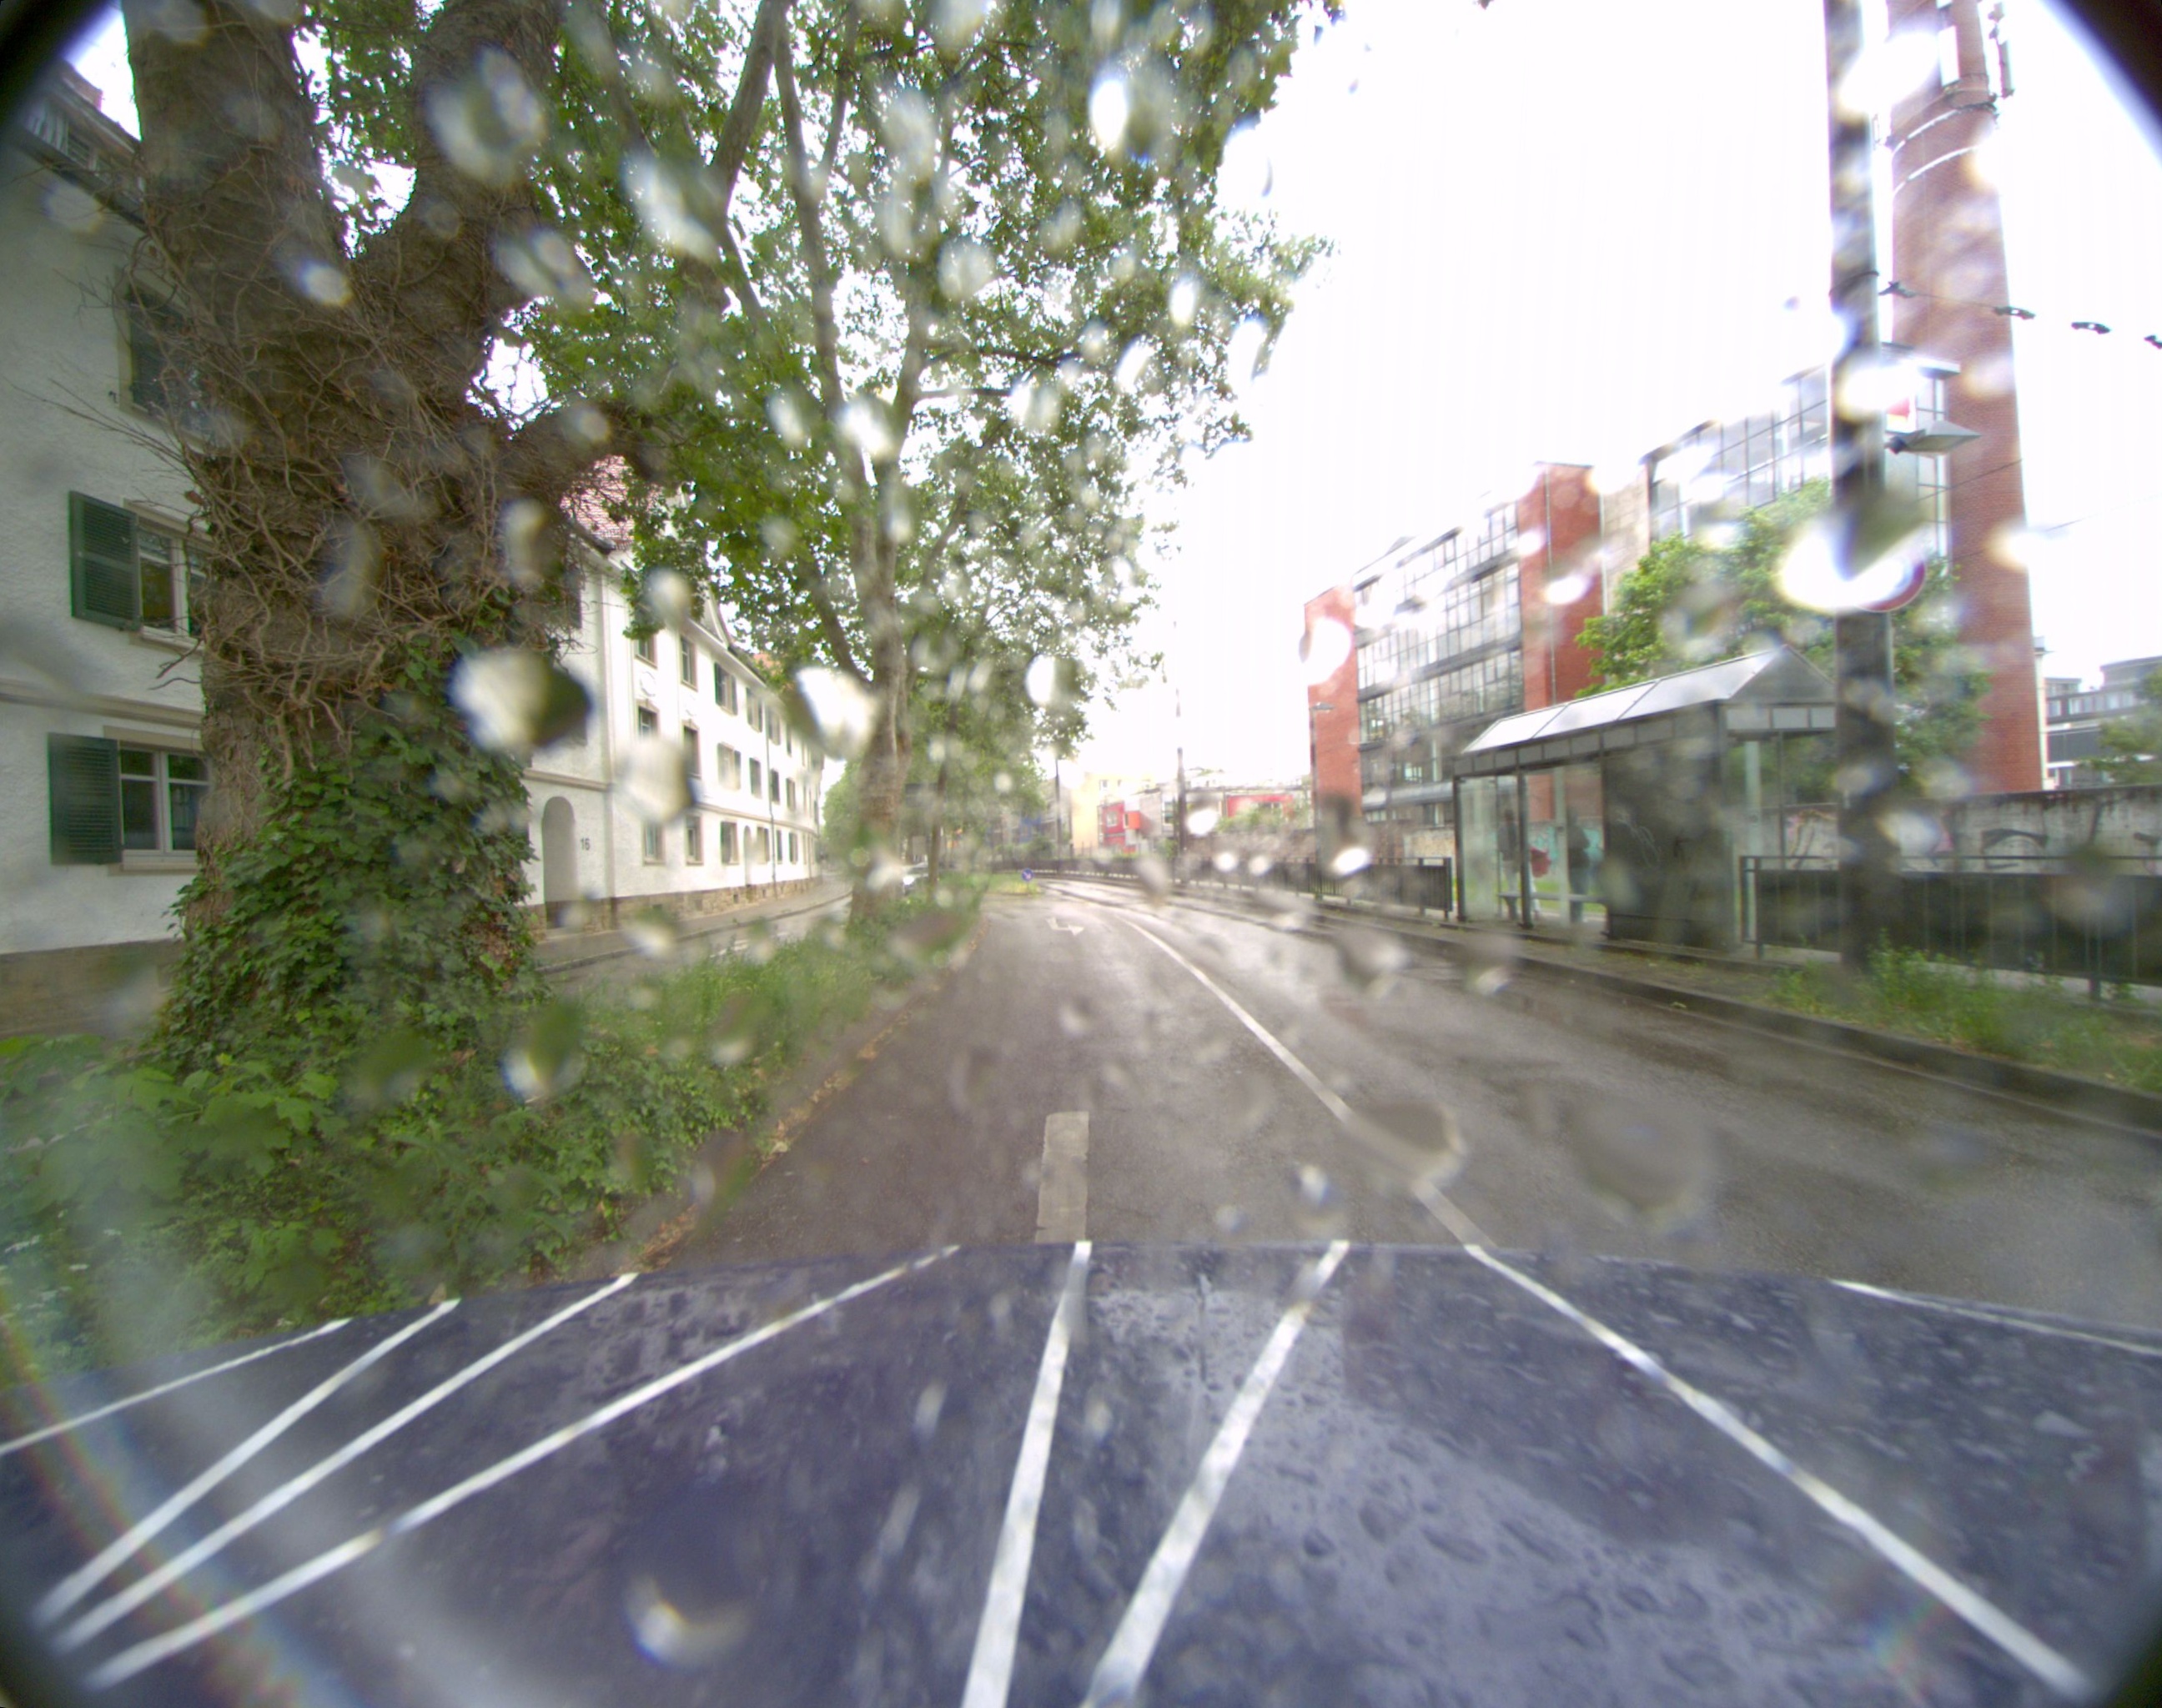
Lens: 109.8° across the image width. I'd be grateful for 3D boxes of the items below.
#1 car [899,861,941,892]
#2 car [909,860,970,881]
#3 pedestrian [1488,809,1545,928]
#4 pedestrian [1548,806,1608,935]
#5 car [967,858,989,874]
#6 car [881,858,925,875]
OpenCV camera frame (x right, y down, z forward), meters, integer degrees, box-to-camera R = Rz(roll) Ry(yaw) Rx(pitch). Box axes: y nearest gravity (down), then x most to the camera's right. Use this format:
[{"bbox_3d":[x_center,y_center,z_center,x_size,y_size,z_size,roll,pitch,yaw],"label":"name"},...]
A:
[{"bbox_3d":[-9.139,1.237,42.842,1.853,1.586,4.210,-2,0,-17],"label":"car"},{"bbox_3d":[-10.975,1.266,59.203,4.224,1.532,1.932,-1,0,11],"label":"car"},{"bbox_3d":[6.497,0.210,11.330,0.584,1.721,0.566,-1,1,-41],"label":"pedestrian"},{"bbox_3d":[6.913,0.222,10.569,0.584,1.721,0.566,-1,1,-43],"label":"pedestrian"},{"bbox_3d":[-11.820,1.356,87.132,1.694,1.713,3.685,-1,0,-20],"label":"car"},{"bbox_3d":[-22.214,1.589,94.784,4.884,2.002,2.002,-1,0,11],"label":"car"}]
